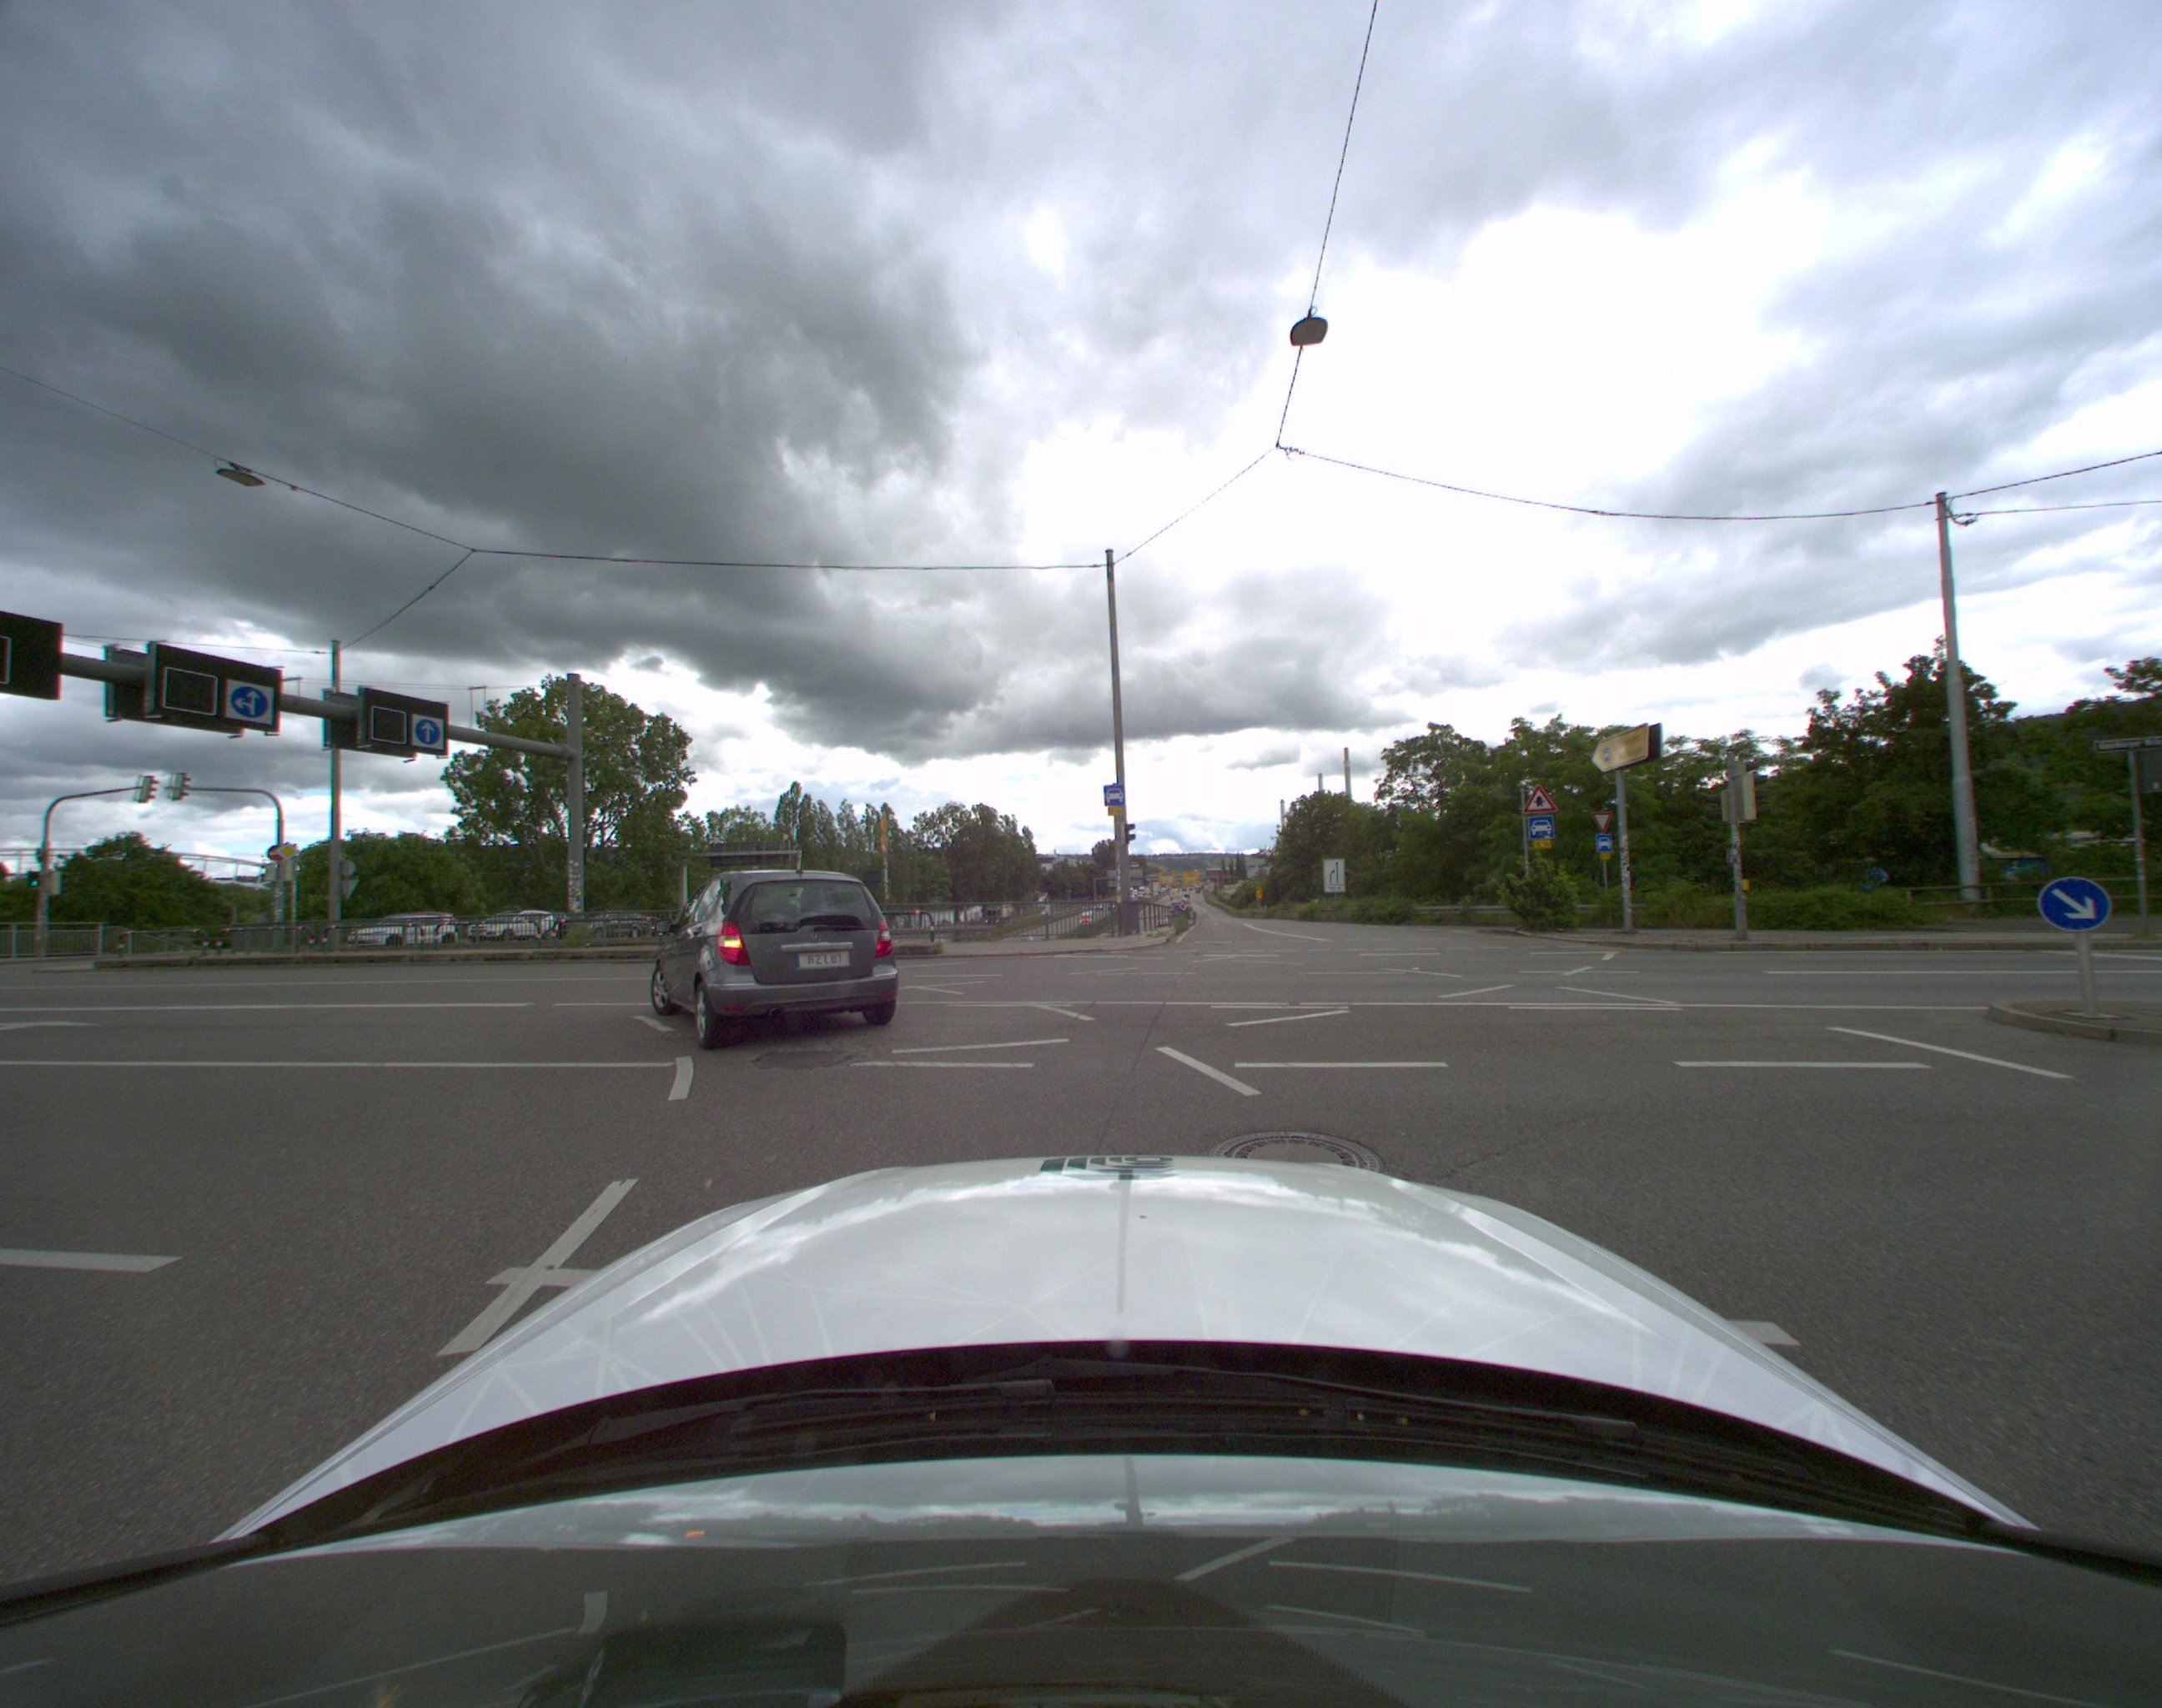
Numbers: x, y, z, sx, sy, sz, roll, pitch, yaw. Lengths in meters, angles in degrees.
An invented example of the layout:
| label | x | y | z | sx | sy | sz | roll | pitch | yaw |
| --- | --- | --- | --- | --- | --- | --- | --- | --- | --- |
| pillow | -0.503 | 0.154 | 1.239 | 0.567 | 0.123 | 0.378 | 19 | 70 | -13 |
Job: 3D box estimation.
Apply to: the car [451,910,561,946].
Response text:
| label | x | y | z | sx | sy | sz | roll | pitch | yaw |
| --- | --- | --- | --- | --- | --- | --- | --- | --- | --- |
| car | -28.928 | 3.705 | 41.139 | 1.981 | 1.620 | 4.354 | -4 | -4 | 10 |

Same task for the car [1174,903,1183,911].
| label | x | y | z | sx | sy | sz | roll | pitch | yaw |
| --- | --- | --- | --- | --- | --- | --- | --- | --- | --- |
| car | 21.988 | 12.014 | 183.465 | 1.983 | 1.737 | 4.002 | -3 | -4 | 6 |

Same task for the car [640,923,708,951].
| label | x | y | z | sx | sy | sz | roll | pitch | yaw |
| --- | --- | --- | --- | --- | --- | --- | --- | --- | --- |
| car | -26.778 | 5.427 | 53.706 | 1.981 | 1.618 | 4.010 | -4 | -4 | 10 |

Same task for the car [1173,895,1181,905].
| label | x | y | z | sx | sy | sz | roll | pitch | yaw |
| --- | --- | --- | --- | --- | --- | --- | --- | --- | --- |
| car | 25.780 | 12.292 | 218.490 | 1.983 | 2.623 | 5.407 | -3 | -4 | 6 |

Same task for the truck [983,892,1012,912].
| label | x | y | z | sx | sy | sz | roll | pitch | yaw |
| --- | --- | --- | --- | --- | --- | --- | --- | --- | --- |
| truck | -15.381 | 8.899 | 151.447 | 2.756 | 3.510 | 9.283 | -2 | -2 | 10 |

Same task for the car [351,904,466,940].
| label | x | y | z | sx | sy | sz | roll | pitch | yaw |
| --- | --- | --- | --- | --- | --- | --- | --- | --- | --- |
| car | -31.745 | 3.195 | 38.604 | 1.680 | 1.540 | 4.017 | -4 | -4 | 9 |

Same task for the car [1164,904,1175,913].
| label | x | y | z | sx | sy | sz | roll | pitch | yaw |
| --- | --- | --- | --- | --- | --- | --- | --- | --- | --- |
| car | 17.188 | 10.618 | 158.779 | 1.983 | 1.737 | 4.002 | -3 | -4 | 6 |

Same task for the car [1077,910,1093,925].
| label | x | y | z | sx | sy | sz | roll | pitch | yaw |
| --- | --- | --- | --- | --- | --- | --- | --- | --- | --- |
| car | 0.672 | 10.786 | 138.039 | 1.982 | 2.371 | 4.600 | -4 | -4 | 9 |

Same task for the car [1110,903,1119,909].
| label | x | y | z | sx | sy | sz | roll | pitch | yaw |
| --- | --- | --- | --- | --- | --- | --- | --- | --- | --- |
| car | 9.913 | 15.370 | 240.957 | 1.982 | 1.707 | 4.088 | -4 | -4 | 9 |

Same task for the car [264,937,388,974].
| label | x | y | z | sx | sy | sz | roll | pitch | yaw |
| --- | --- | --- | --- | --- | --- | --- | --- | --- | --- |
| car | -35.730 | 4.784 | 38.705 | 1.680 | 1.421 | 4.162 | -4 | -4 | 8 |

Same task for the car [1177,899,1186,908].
| label | x | y | z | sx | sy | sz | roll | pitch | yaw |
| --- | --- | --- | --- | --- | --- | --- | --- | --- | --- |
| car | 24.941 | 12.236 | 202.217 | 1.983 | 2.014 | 4.006 | -3 | -4 | 6 |

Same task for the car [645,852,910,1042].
| label | x | y | z | sx | sy | sz | roll | pitch | yaw |
| --- | --- | --- | --- | --- | --- | --- | --- | --- | --- |
| car | -3.429 | 0.902 | 8.739 | 1.758 | 1.551 | 3.828 | 1 | -5 | -35 |

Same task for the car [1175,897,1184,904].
| label | x | y | z | sx | sy | sz | roll | pitch | yaw |
| --- | --- | --- | --- | --- | --- | --- | --- | --- | --- |
| car | 27.865 | 13.164 | 230.010 | 2.518 | 1.902 | 4.889 | -3 | -4 | 6 |

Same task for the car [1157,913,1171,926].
| label | x | y | z | sx | sy | sz | roll | pitch | yaw |
| --- | --- | --- | --- | --- | --- | --- | --- | --- | --- |
| car | 13.036 | 10.239 | 127.513 | 1.983 | 1.737 | 4.003 | -3 | -4 | 6 |

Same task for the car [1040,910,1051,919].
| label | x | y | z | sx | sy | sz | roll | pitch | yaw |
| --- | --- | --- | --- | --- | --- | --- | --- | --- | --- |
| car | -8.214 | 13.981 | 187.034 | 1.983 | 1.669 | 3.777 | -2 | 0 | 6 |

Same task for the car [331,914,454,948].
| label | x | y | z | sx | sy | sz | roll | pitch | yaw |
| --- | --- | --- | --- | --- | --- | --- | --- | --- | --- |
| car | -29.743 | 3.301 | 35.340 | 1.774 | 1.313 | 3.775 | -4 | -4 | 10 |

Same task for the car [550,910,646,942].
| label | x | y | z | sx | sy | sz | roll | pitch | yaw |
| --- | --- | --- | --- | --- | --- | --- | --- | --- | --- |
| car | -27.823 | 4.105 | 47.139 | 1.981 | 1.620 | 4.975 | -4 | -4 | 10 |
